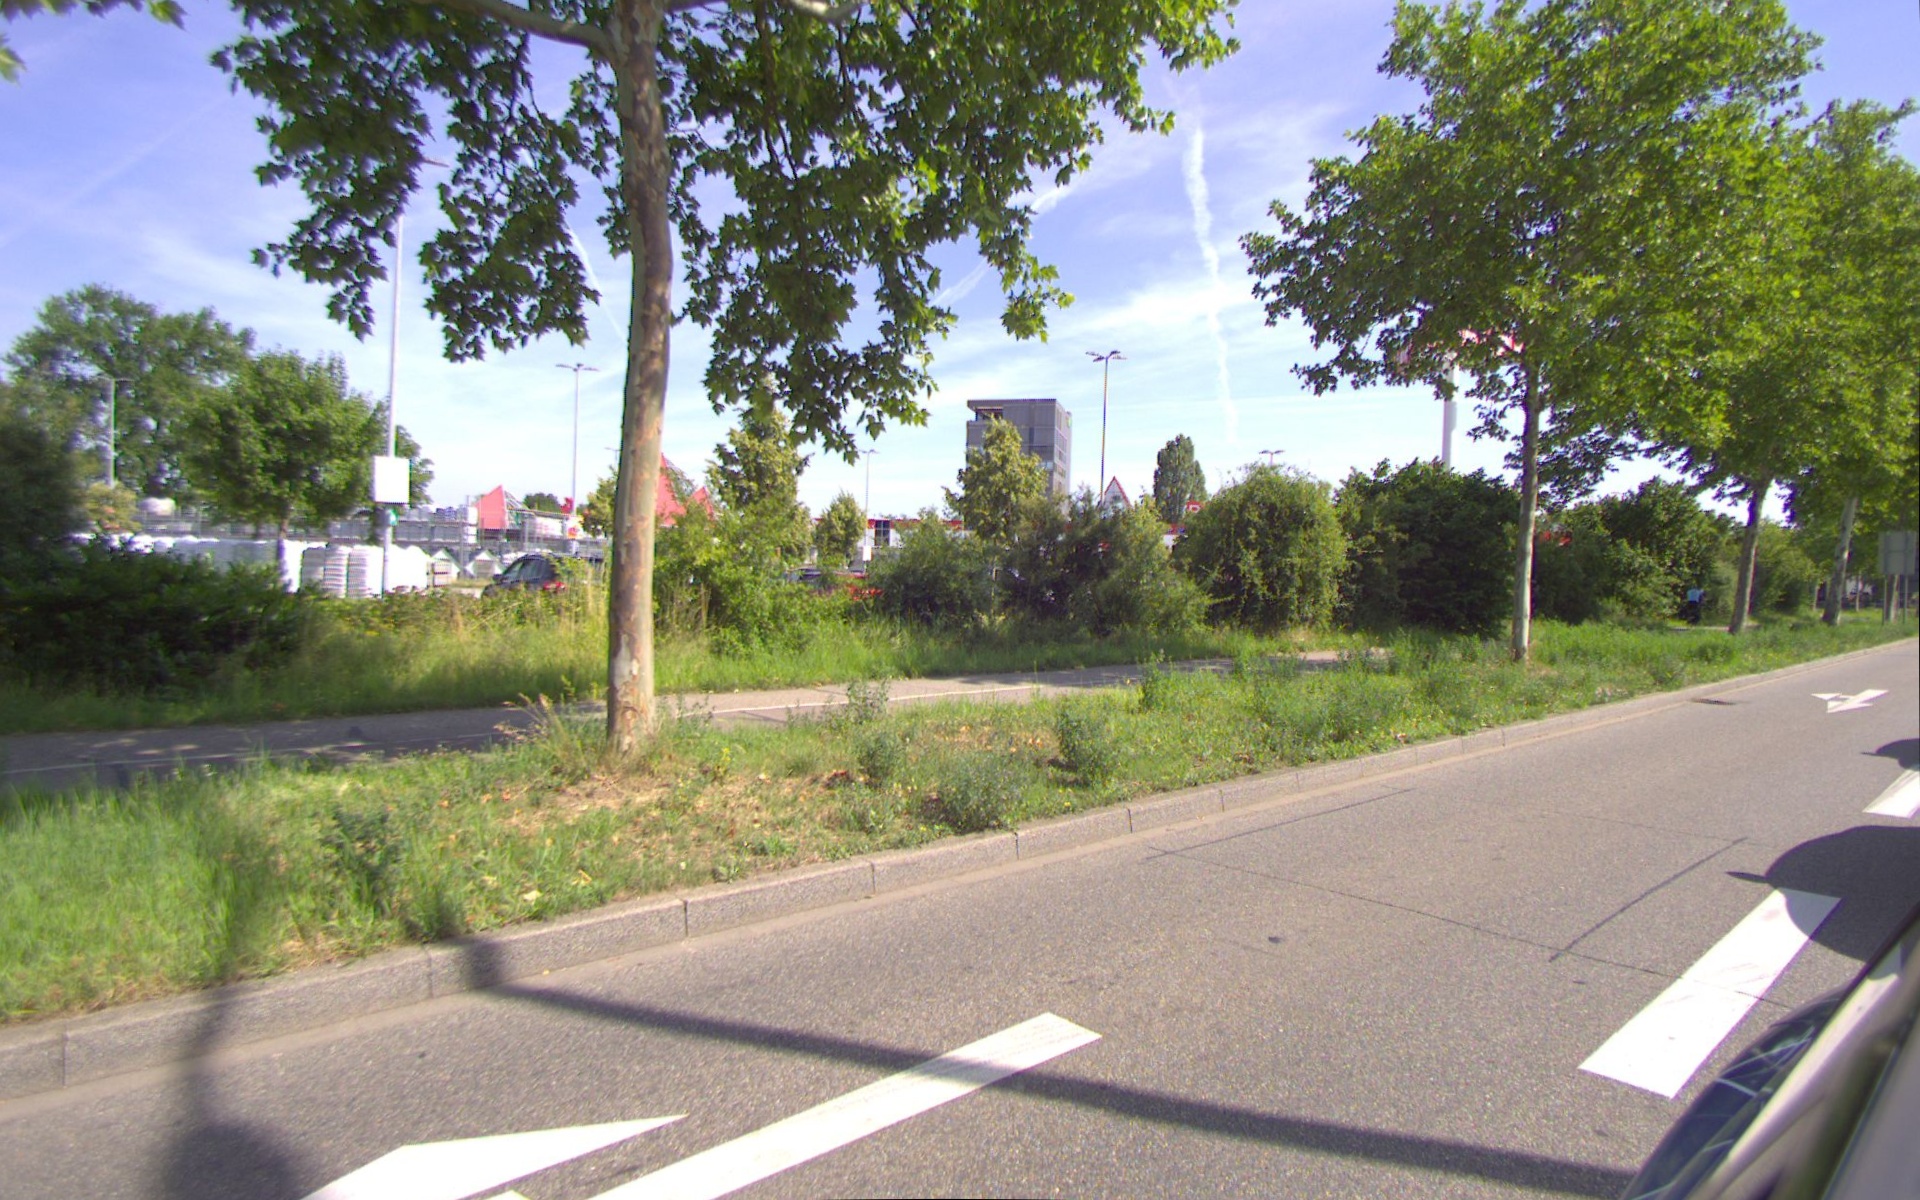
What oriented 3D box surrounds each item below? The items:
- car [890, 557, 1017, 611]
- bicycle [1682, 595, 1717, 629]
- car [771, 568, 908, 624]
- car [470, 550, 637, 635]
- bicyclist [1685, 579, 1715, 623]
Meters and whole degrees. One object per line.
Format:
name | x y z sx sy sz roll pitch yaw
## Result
car | -0.183 -0.535 32.583 3.801 1.604 1.844 2 2 11
bicycle | 28.880 0.444 39.521 1.900 1.252 0.686 0 2 -41
car | -3.224 -0.153 26.813 3.553 1.316 1.740 3 2 43
car | -8.630 -0.219 21.351 3.850 1.604 1.821 3 2 43
bicyclist | 28.911 0.027 39.534 0.984 1.651 0.686 0 2 -41
